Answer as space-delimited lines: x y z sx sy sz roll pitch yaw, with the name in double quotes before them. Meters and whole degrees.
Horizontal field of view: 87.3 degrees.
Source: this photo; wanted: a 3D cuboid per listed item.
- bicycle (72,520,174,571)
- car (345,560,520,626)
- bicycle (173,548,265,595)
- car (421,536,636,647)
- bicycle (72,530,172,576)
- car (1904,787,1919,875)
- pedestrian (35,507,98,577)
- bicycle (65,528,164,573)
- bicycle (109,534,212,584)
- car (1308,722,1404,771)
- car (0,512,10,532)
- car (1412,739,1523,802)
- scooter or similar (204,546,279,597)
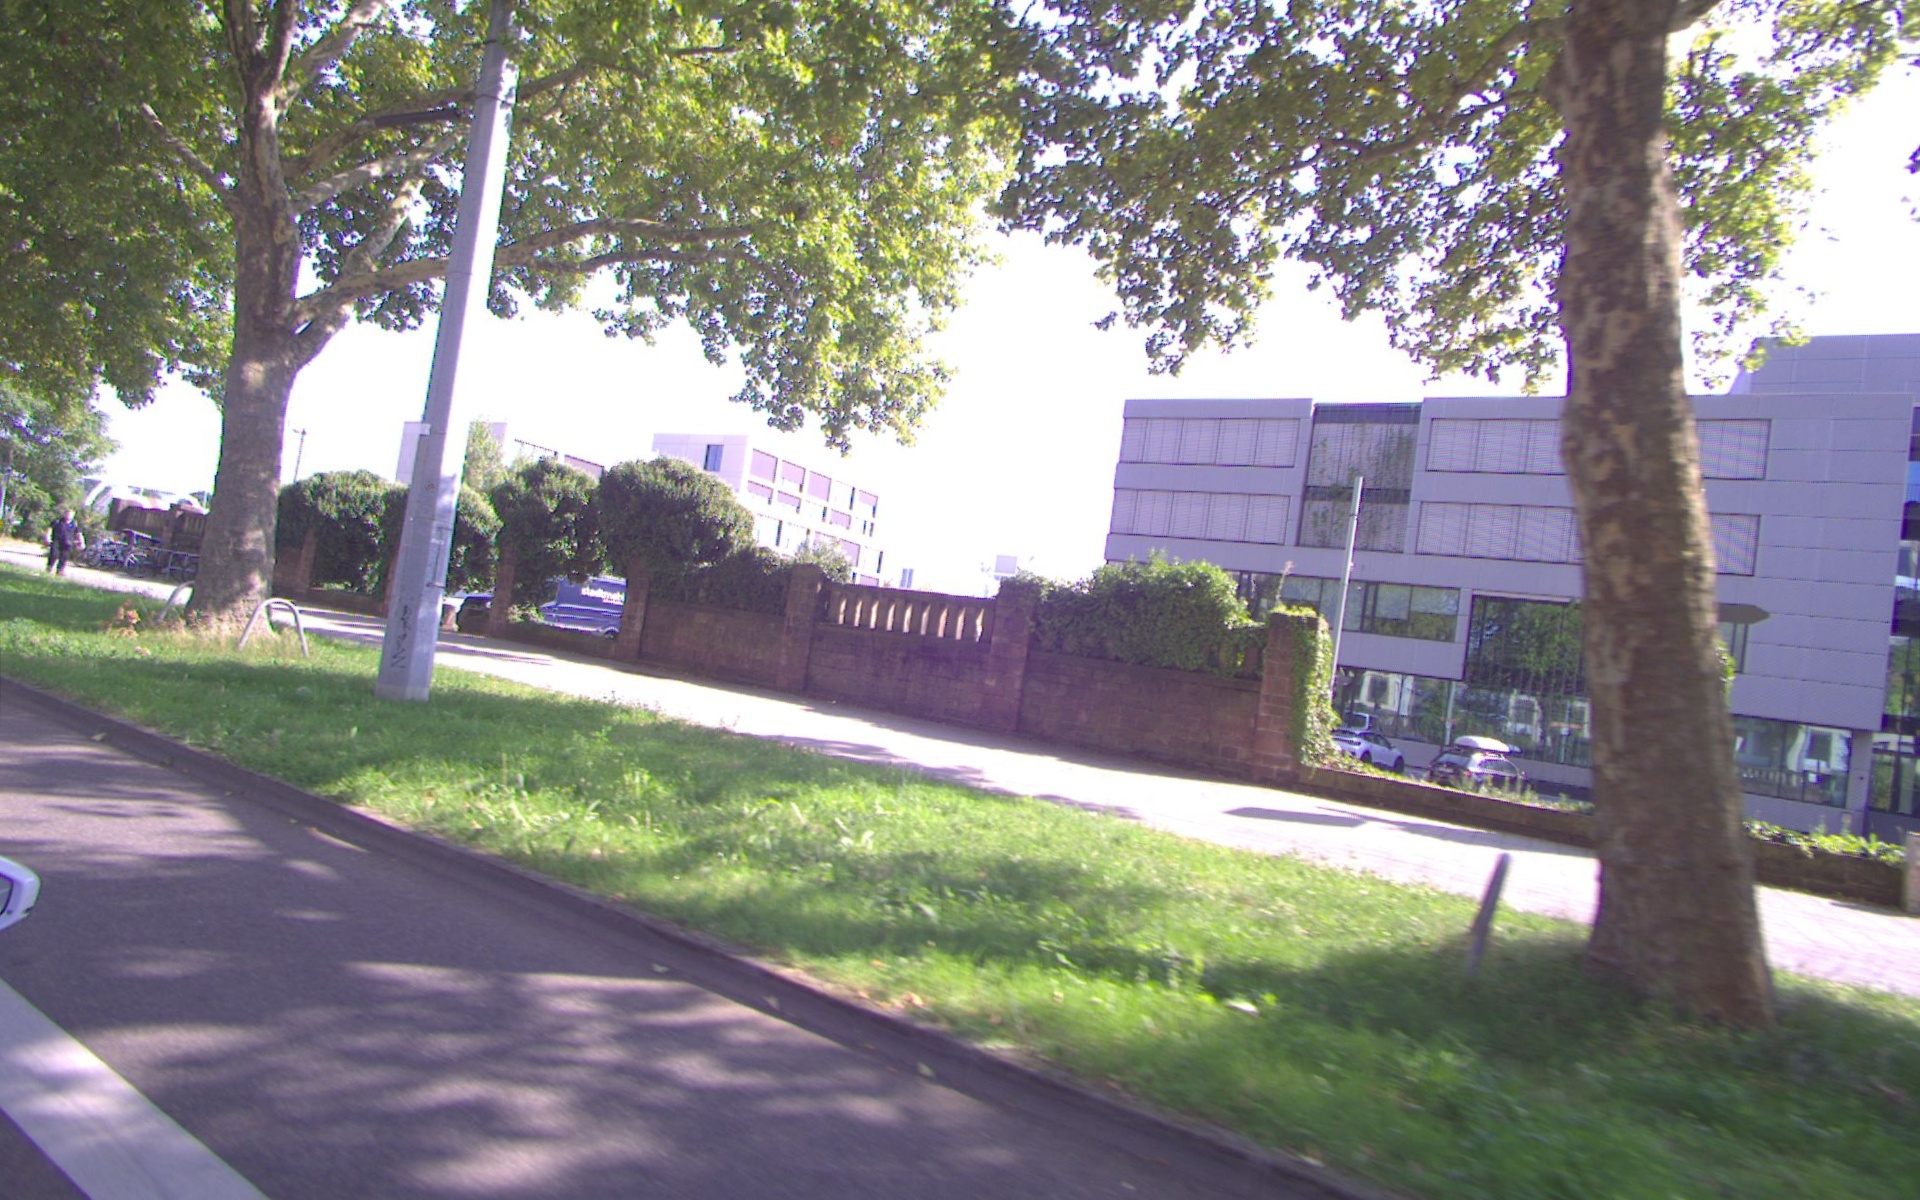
"bicycle" -27.093 -1.744 32.607 0.982 1.292 2.248 5 -2 30
"car" -17.693 -0.169 34.052 2.147 1.495 4.916 7 -3 22
"bicycle" -20.903 -0.791 28.430 0.722 1.017 1.873 7 -3 29
"car" -12.755 -0.161 30.178 2.214 2.461 5.388 6 -3 33
"bicycle" -25.581 -1.411 30.746 0.731 1.089 2.175 6 -1 34
"car" 16.246 3.798 15.039 1.965 1.434 4.000 7 -3 28
"pedestrian" -21.701 -1.409 24.438 0.773 1.532 0.785 7 -2 31
"bicycle" -26.215 -1.520 31.247 0.731 1.089 2.175 6 -1 34
"bicycle" -23.636 -1.190 29.784 0.730 1.088 2.180 7 -3 29
"car" 15.290 5.668 38.761 3.950 1.522 1.801 9 -3 -43
"car" -78.463 -6.596 79.517 1.914 1.479 4.359 6 -4 29
"car" 16.517 5.535 32.672 3.948 1.628 1.802 9 -2 -42
"scooter or similar" -19.879 -0.779 27.853 0.530 1.205 1.507 6 -2 35
